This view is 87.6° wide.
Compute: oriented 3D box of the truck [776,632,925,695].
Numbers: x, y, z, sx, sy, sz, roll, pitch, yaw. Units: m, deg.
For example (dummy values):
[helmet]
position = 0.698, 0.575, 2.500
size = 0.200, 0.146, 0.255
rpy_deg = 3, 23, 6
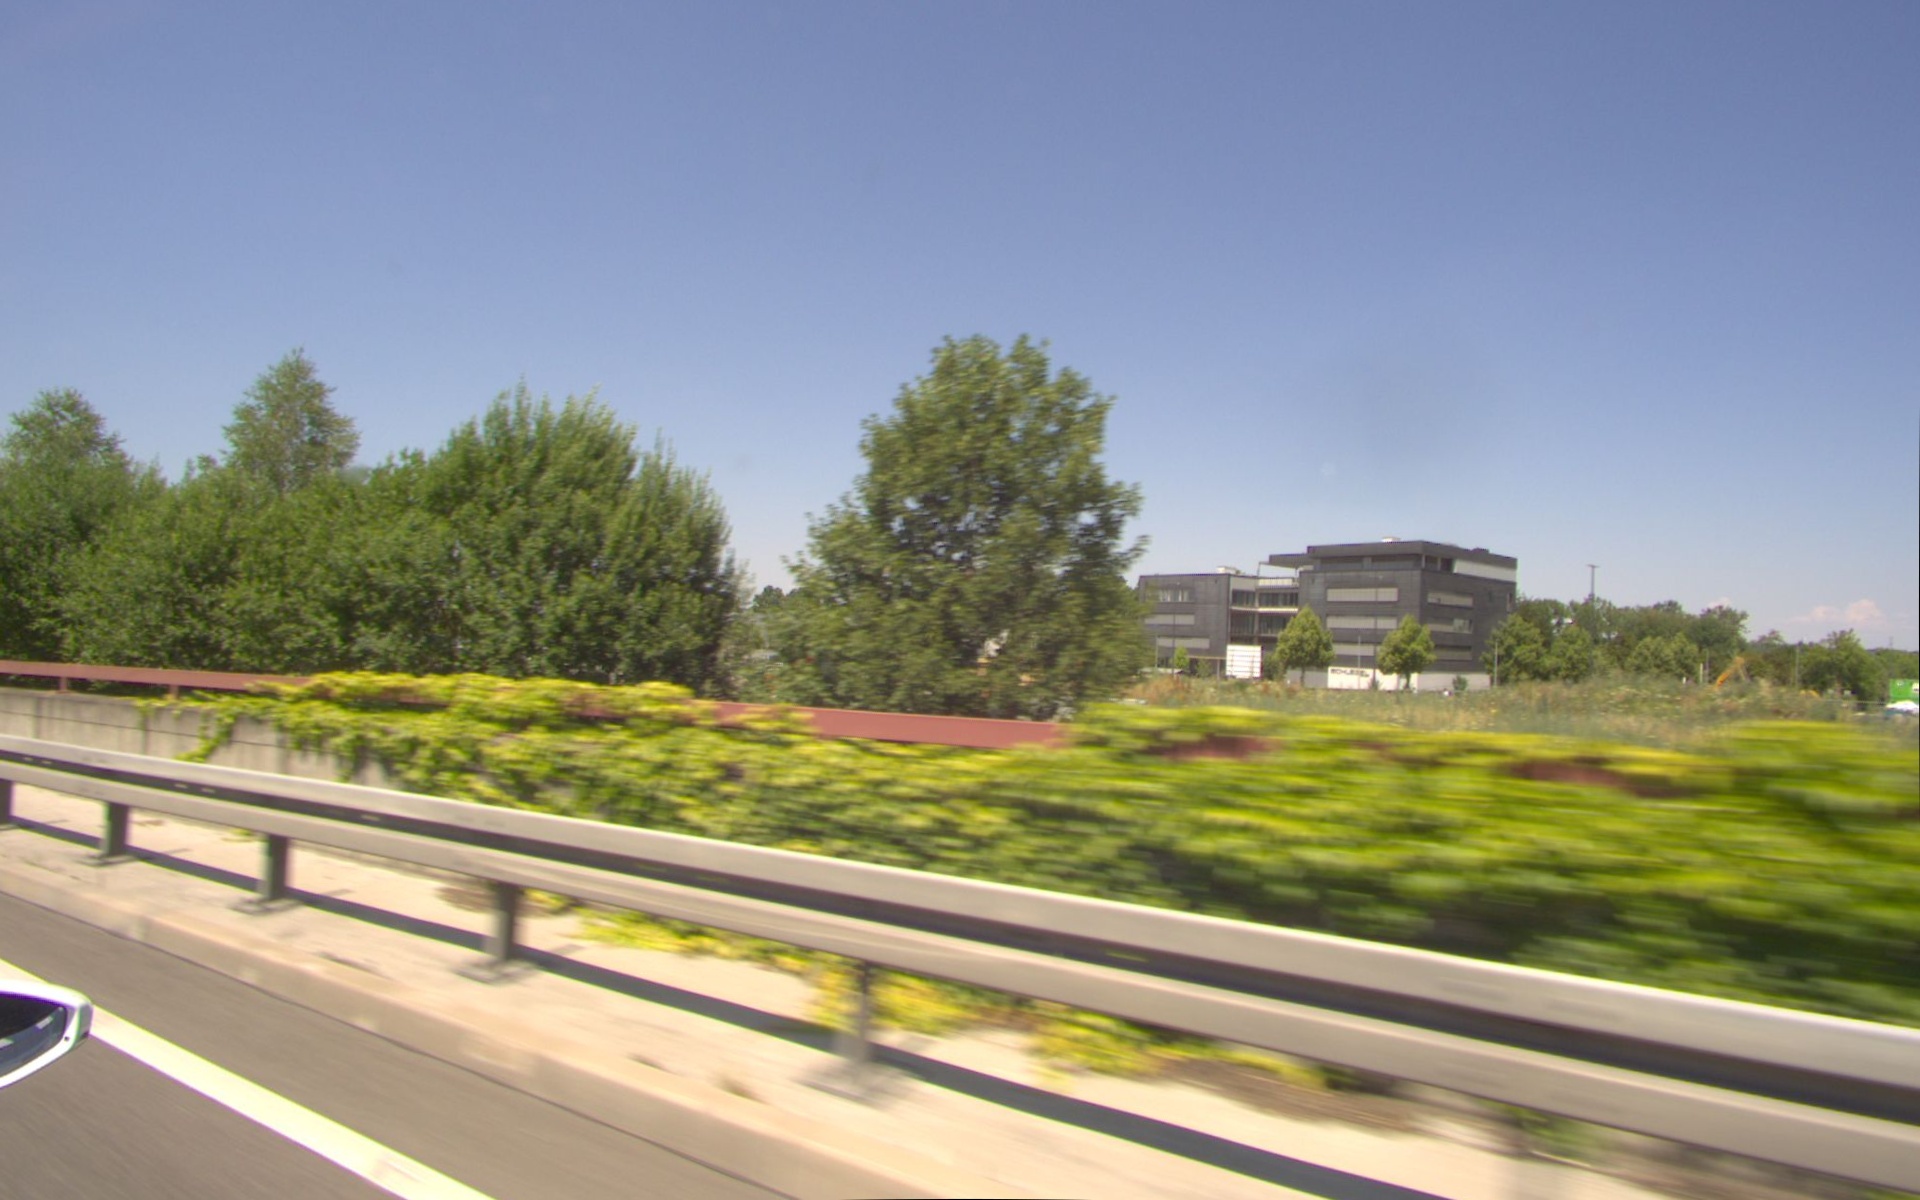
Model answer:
[truck]
position = -7.285, 4.226, 66.730
size = 9.260, 3.730, 3.125
rpy_deg = 4, -2, -18
